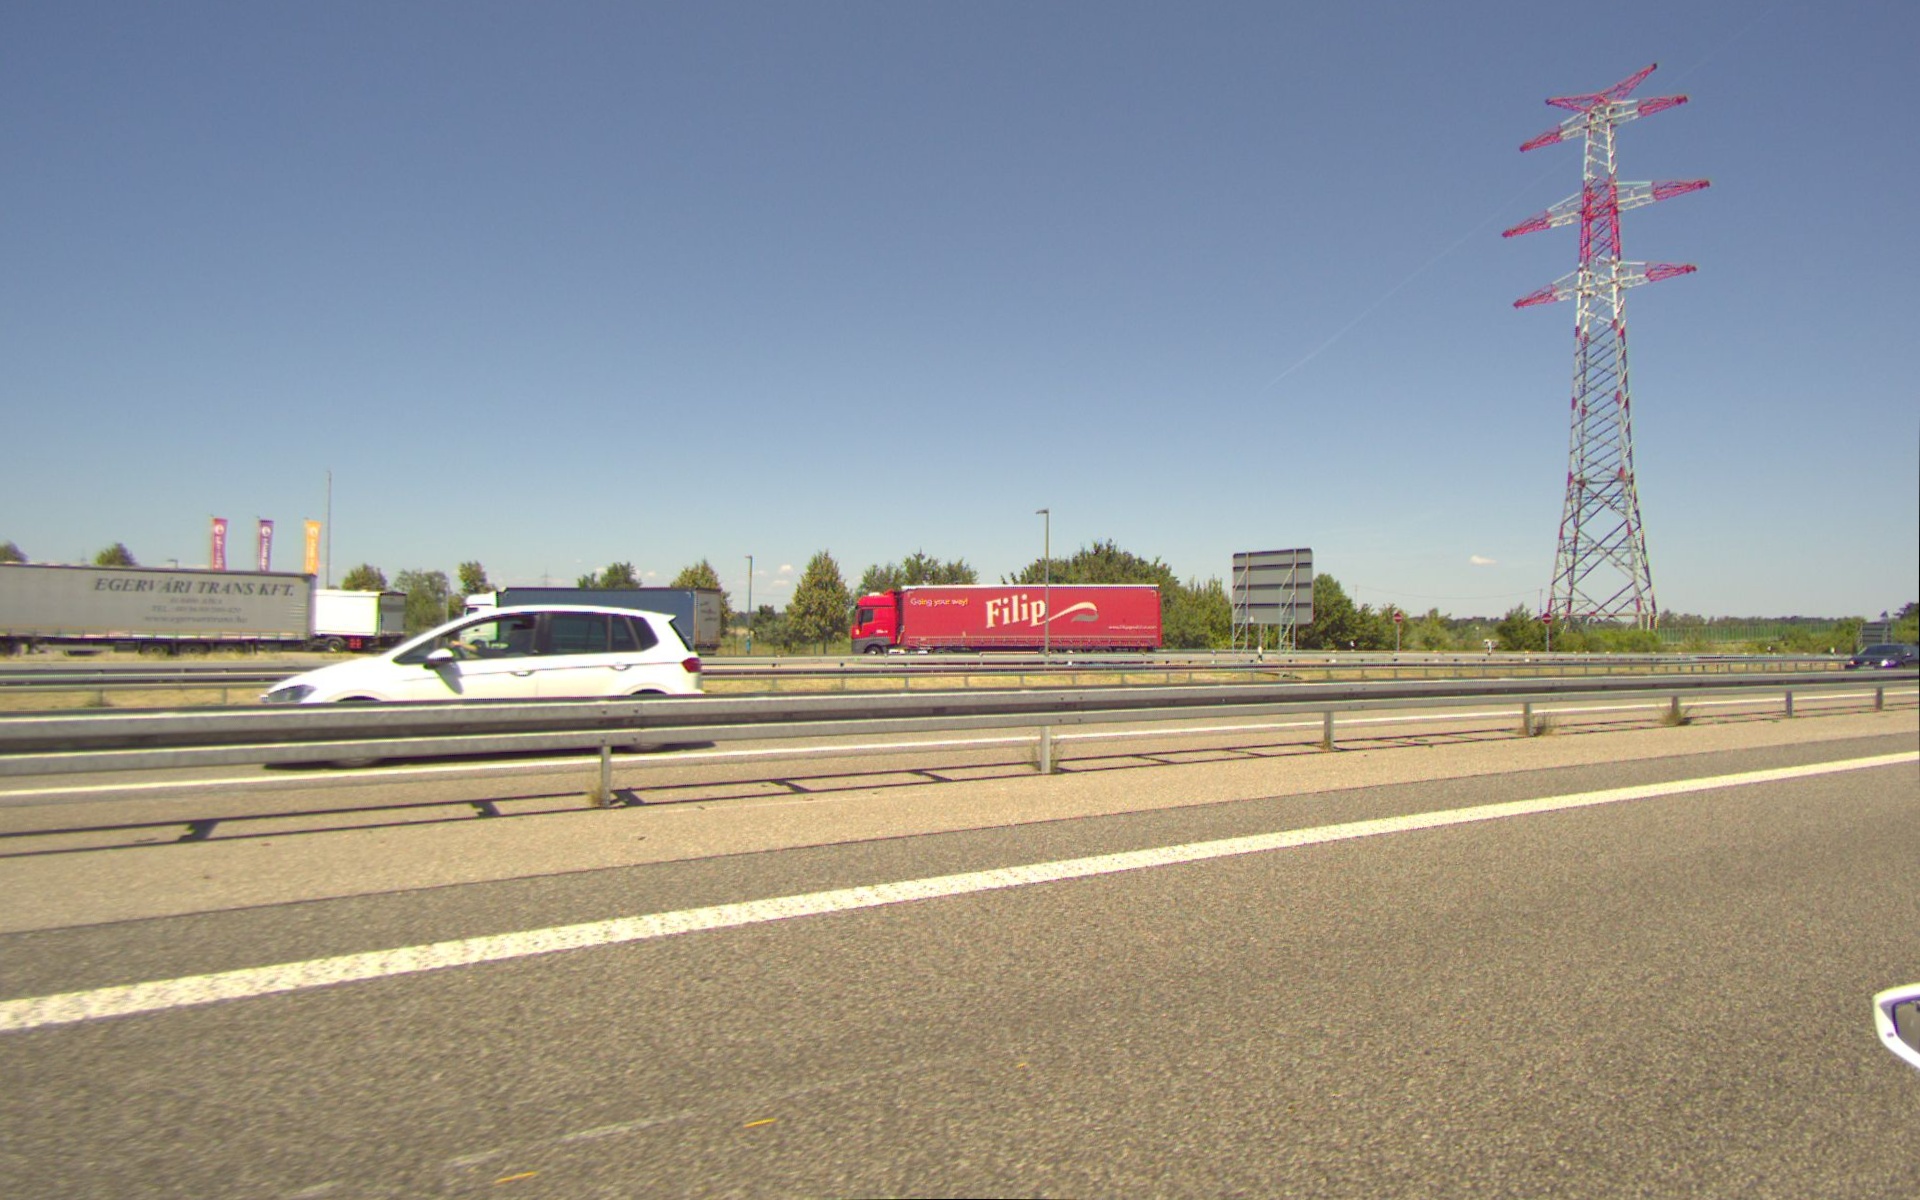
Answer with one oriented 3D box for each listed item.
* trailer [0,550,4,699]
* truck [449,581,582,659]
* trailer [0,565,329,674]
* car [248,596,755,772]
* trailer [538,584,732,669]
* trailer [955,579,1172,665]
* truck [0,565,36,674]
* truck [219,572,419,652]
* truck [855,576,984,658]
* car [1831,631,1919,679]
[{"bbox_3d":[-35.722,0.720,30.126,9.540,4.940,3.295,2,1,-21],"label":"trailer"},{"bbox_3d":[-26.437,1.145,59.935,6.510,4.308,3.176,2,1,11],"label":"truck"},{"bbox_3d":[-35.613,0.897,44.400,12.762,4.415,3.287,2,1,-29],"label":"trailer"},{"bbox_3d":[-4.693,0.834,10.774,4.612,1.549,1.710,2,-3,-30],"label":"car"},{"bbox_3d":[-18.721,1.397,57.698,10.845,4.323,3.166,2,1,20],"label":"trailer"},{"bbox_3d":[5.448,1.115,53.779,11.085,4.109,3.132,2,1,4],"label":"trailer"},{"bbox_3d":[-42.802,0.687,40.448,7.531,4.415,3.287,2,1,-29],"label":"truck"},{"bbox_3d":[-38.815,0.687,60.984,10.499,4.415,3.061,2,1,5],"label":"truck"},{"bbox_3d":[-2.092,0.878,54.342,6.511,4.103,3.129,2,1,4],"label":"truck"},{"bbox_3d":[38.485,2.257,41.782,4.990,1.834,1.943,2,1,-31],"label":"car"}]
